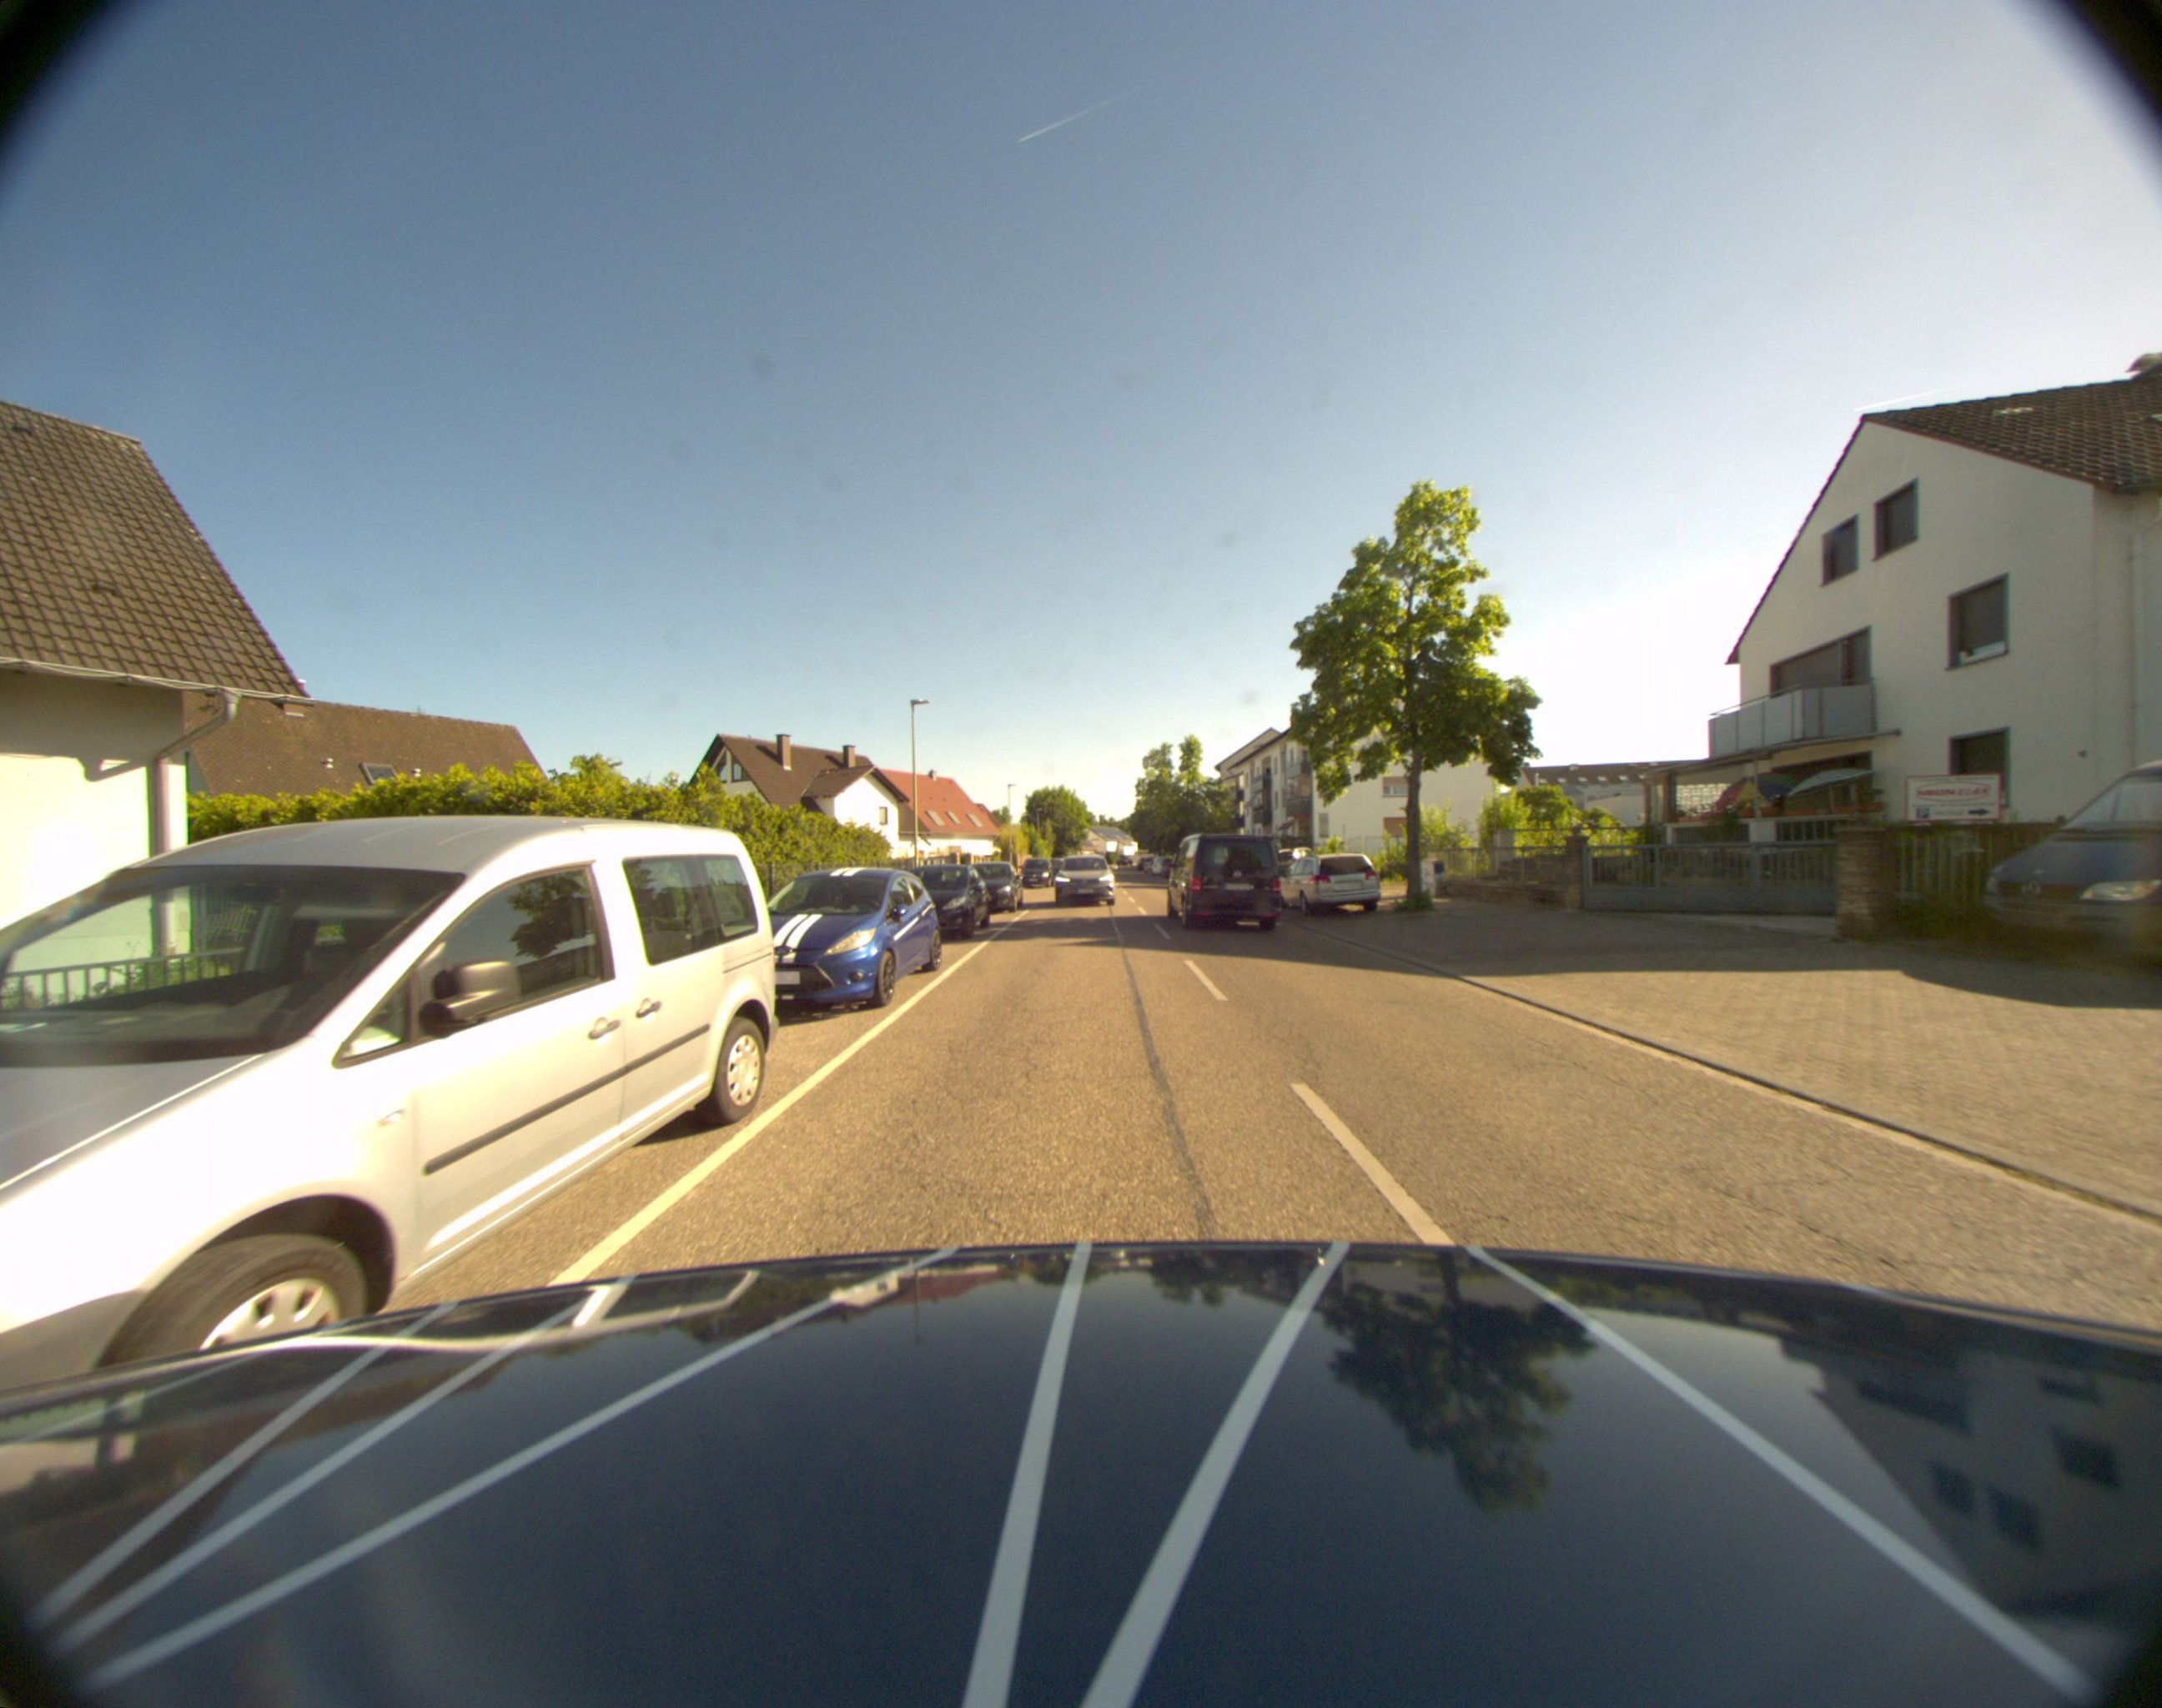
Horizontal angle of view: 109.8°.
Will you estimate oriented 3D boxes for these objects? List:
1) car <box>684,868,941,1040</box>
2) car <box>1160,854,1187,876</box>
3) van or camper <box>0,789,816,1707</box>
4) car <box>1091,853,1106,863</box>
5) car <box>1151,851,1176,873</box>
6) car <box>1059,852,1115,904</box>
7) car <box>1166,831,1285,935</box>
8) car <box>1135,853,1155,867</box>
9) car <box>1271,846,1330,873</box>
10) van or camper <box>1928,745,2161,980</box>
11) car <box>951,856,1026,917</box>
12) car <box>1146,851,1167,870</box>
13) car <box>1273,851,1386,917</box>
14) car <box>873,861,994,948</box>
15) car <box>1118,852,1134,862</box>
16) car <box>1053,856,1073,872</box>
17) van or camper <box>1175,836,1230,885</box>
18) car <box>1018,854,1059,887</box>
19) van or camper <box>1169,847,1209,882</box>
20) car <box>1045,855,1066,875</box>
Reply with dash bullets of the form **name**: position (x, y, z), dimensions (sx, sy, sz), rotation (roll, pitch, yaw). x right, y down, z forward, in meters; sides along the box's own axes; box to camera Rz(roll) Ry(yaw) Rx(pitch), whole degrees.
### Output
- **car**: position (-2.887, 0.990, 9.025), dimensions (1.723, 1.496, 3.563), rotation (-2, 0, 0)
- **car**: position (6.645, 0.794, 54.736), dimensions (1.613, 1.427, 4.314), rotation (-3, 0, 4)
- **van or camper**: position (-2.897, 0.829, 3.507), dimensions (1.723, 1.879, 4.180), rotation (-2, 0, 2)
- **car**: position (2.818, 0.592, 120.968), dimensions (1.635, 1.565, 3.708), rotation (2, 1, 15)
- **car**: position (6.667, 0.618, 61.569), dimensions (1.696, 1.557, 3.908), rotation (-4, 0, 4)
- **car**: position (0.195, 0.787, 26.004), dimensions (1.777, 1.624, 3.704), rotation (-1, 0, 0)
- **car**: position (3.073, 0.555, 17.195), dimensions (1.898, 2.019, 4.818), rotation (0, 0, 2)
- **car**: position (7.134, 0.650, 85.229), dimensions (1.726, 1.485, 4.543), rotation (-2, 0, 0)
- **car**: position (13.185, 0.310, 45.403), dimensions (1.610, 1.505, 4.397), rotation (-2, 0, 42)
- **van or camper**: position (12.939, -0.005, 8.031), dimensions (4.899, 2.307, 2.246), rotation (-2, 1, 14)
- **car**: position (-2.704, 0.904, 22.985), dimensions (1.780, 1.649, 3.816), rotation (-2, 0, 0)
- **car**: position (7.294, 0.593, 73.874), dimensions (1.726, 1.583, 3.909), rotation (-7, 0, 4)
- **car**: position (6.323, 0.702, 19.790), dimensions (1.691, 1.427, 4.209), rotation (-4, 0, 3)
- **car**: position (-2.944, 0.955, 15.992), dimensions (1.723, 1.496, 3.906), rotation (-2, 0, 0)
- **car**: position (7.998, 0.453, 134.713), dimensions (1.774, 1.727, 3.710), rotation (2, 1, 23)
- **car**: position (-1.728, 0.939, 74.911), dimensions (1.646, 1.485, 3.890), rotation (-1, 0, 3)
- **van or camper**: position (6.612, 0.347, 41.979), dimensions (2.128, 2.475, 5.556), rotation (-1, 0, 1)
- **car**: position (-2.332, 0.873, 42.485), dimensions (1.780, 1.649, 4.304), rotation (-2, 0, 3)
- **van or camper**: position (6.734, 0.611, 47.633), dimensions (1.882, 2.002, 4.279), rotation (-4, 0, 2)
- **car**: position (-2.190, 0.883, 64.913), dimensions (1.661, 1.591, 3.815), rotation (-2, 0, -2)
